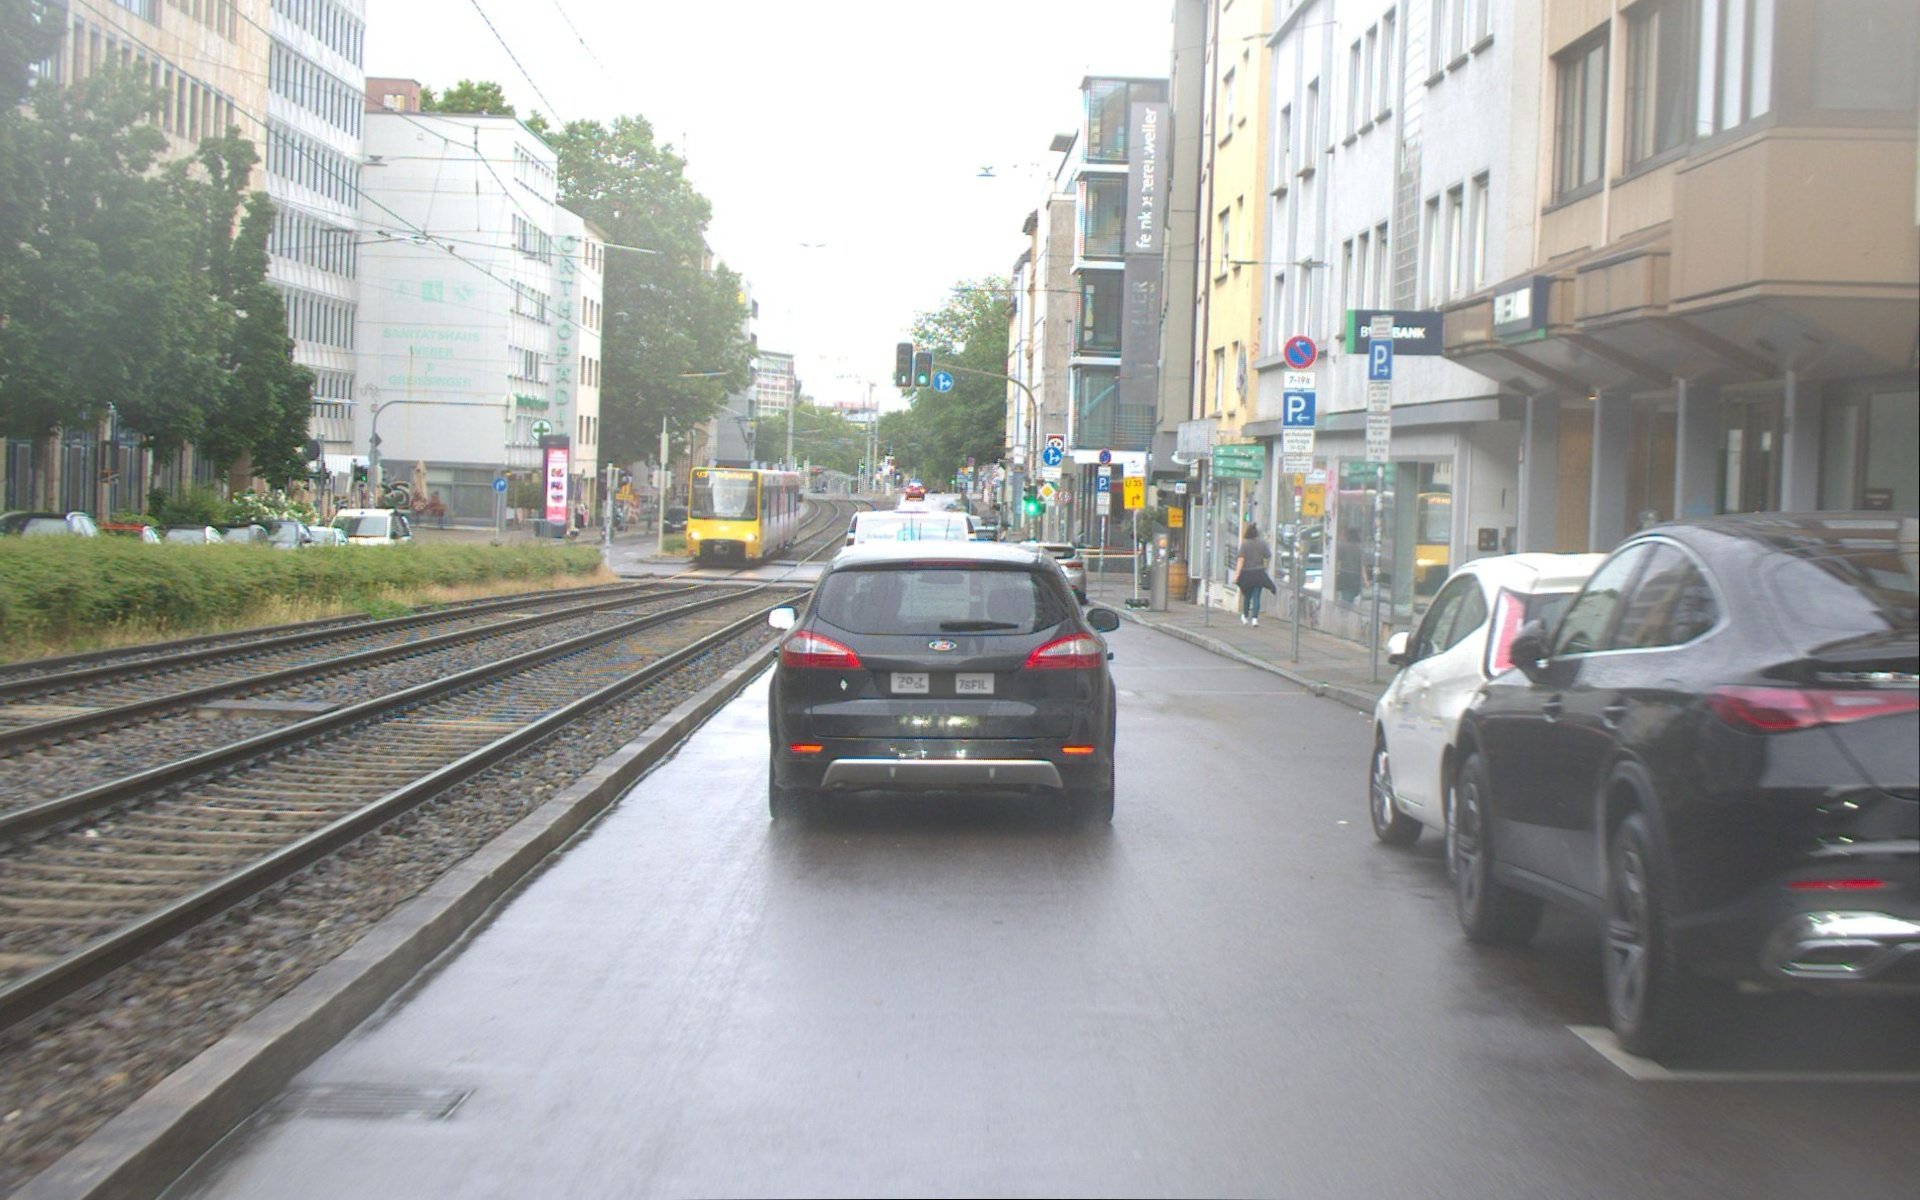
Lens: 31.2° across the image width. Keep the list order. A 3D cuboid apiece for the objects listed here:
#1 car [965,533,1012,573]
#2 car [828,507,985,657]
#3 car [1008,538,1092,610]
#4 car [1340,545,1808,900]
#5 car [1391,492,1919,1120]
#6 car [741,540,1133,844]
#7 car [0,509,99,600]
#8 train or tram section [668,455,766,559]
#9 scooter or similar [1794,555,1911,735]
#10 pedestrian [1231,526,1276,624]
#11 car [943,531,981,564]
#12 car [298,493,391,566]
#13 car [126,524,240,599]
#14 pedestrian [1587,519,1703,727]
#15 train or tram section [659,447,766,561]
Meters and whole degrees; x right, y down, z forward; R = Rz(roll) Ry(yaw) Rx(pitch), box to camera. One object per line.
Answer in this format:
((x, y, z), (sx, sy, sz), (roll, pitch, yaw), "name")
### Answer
((1.209, -1.971, 144.940), (1.906, 1.628, 4.574), (1, 0, 0), "car")
((-0.662, -0.248, 45.783), (1.906, 1.858, 4.574), (1, 0, 1), "car")
((2.146, -0.633, 82.962), (1.906, 1.628, 4.574), (1, 0, 0), "car")
((2.804, 0.493, 16.388), (1.557, 1.471, 3.566), (1, 1, 0), "car")
((2.741, 0.502, 11.552), (1.807, 1.626, 5.170), (1, 1, -1), "car")
((-0.121, 0.440, 18.747), (1.906, 1.457, 3.445), (1, 0, 0), "car")
((-15.534, -0.778, 57.294), (1.568, 1.431, 4.178), (1, 1, -4), "car")
((-9.339, -3.561, 133.114), (3.538, 3.764, 11.333), (1, 1, -3), "train or tram section")
((5.553, 0.263, 21.435), (0.209, 1.079, 1.234), (1, 1, -9), "scooter or similar")
((4.694, -0.404, 55.018), (0.611, 1.532, 0.649), (1, 1, -1), "pedestrian")
((0.102, -2.703, 176.632), (1.906, 1.628, 4.574), (1, 0, 0), "car")
((-16.499, -1.875, 92.301), (1.906, 1.858, 4.574), (1, 0, -4), "car")
((-15.558, -0.783, 68.995), (1.568, 1.431, 4.178), (1, 1, -4), "car")
((5.563, 0.174, 27.971), (0.695, 1.646, 0.966), (1, 1, -1), "pedestrian")
((-8.687, -3.359, 121.793), (3.512, 3.764, 11.333), (1, 1, -3), "train or tram section")
